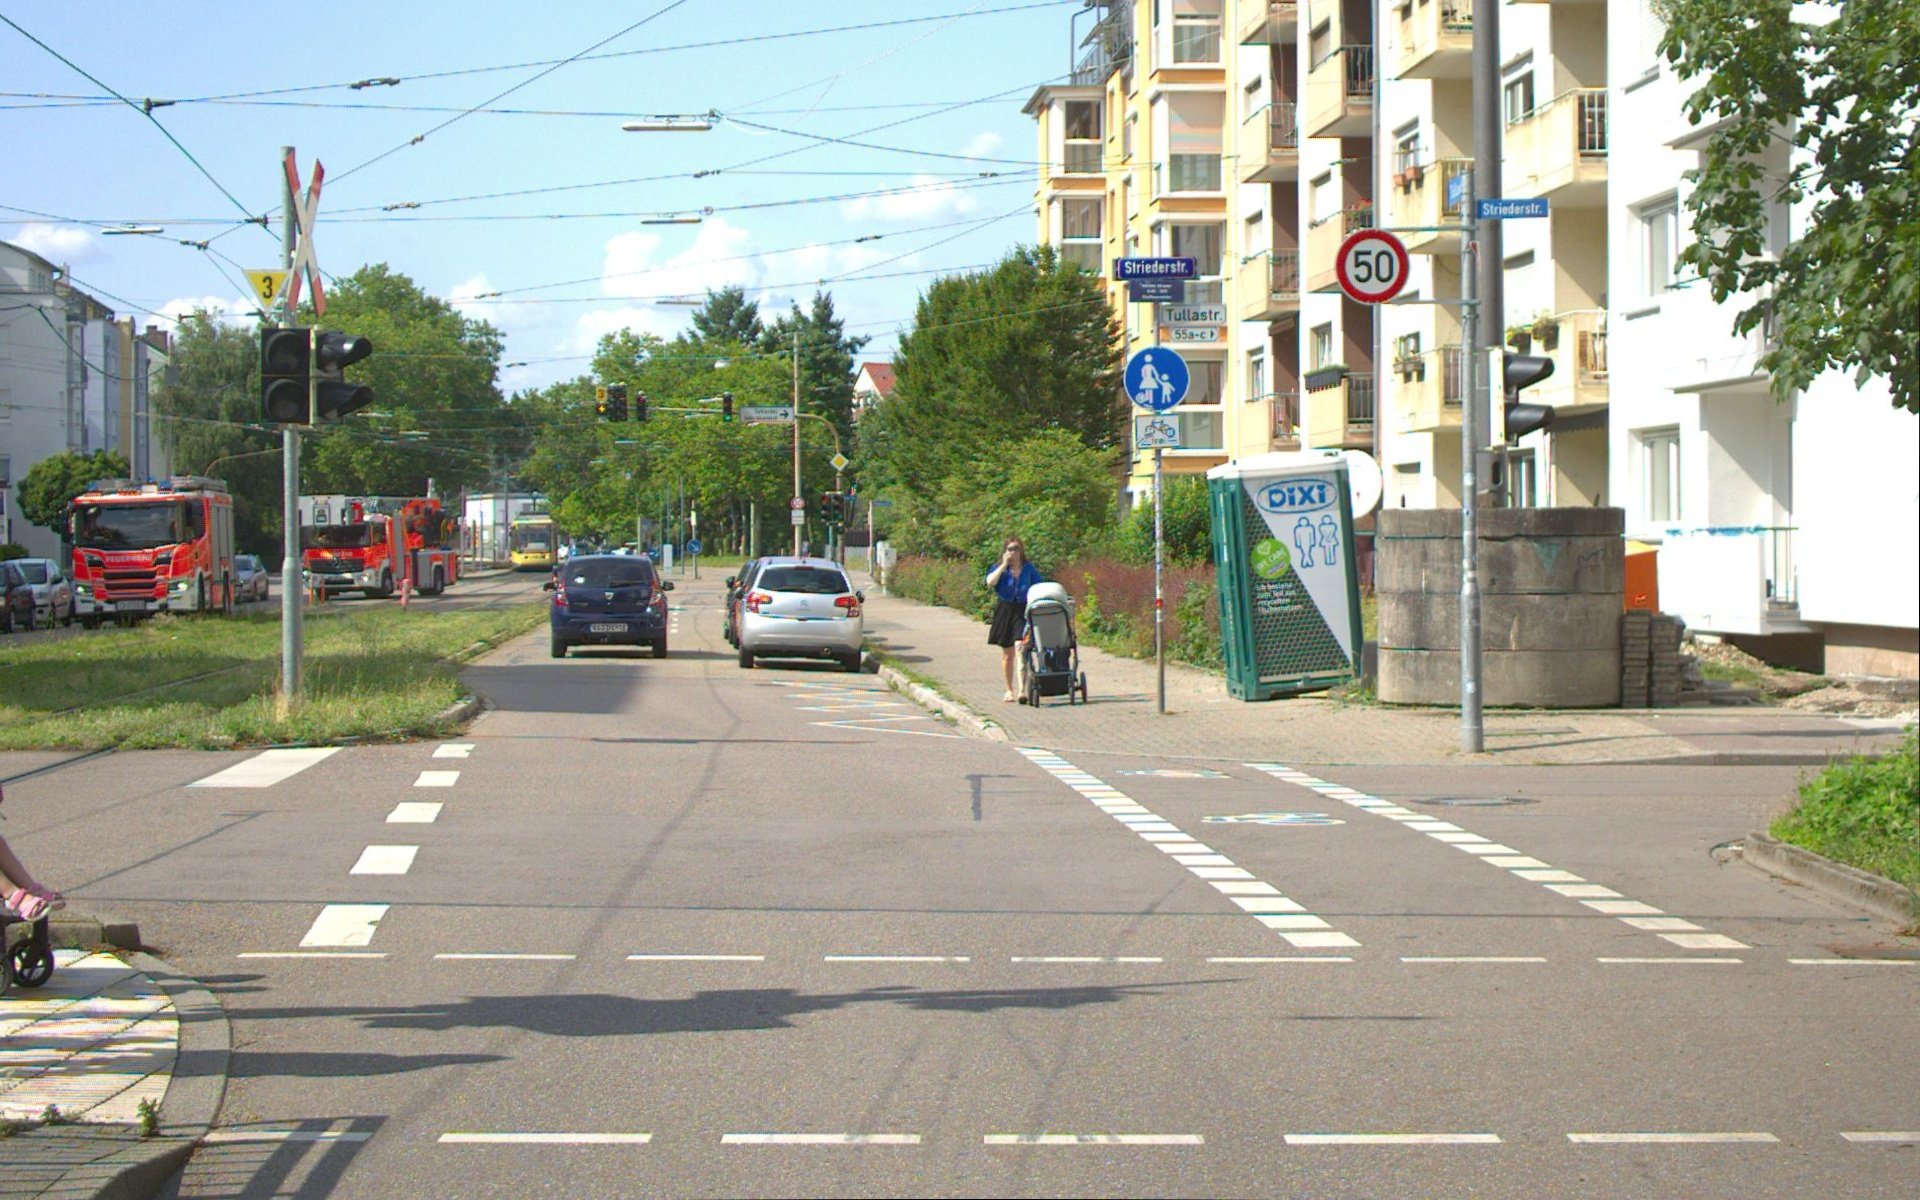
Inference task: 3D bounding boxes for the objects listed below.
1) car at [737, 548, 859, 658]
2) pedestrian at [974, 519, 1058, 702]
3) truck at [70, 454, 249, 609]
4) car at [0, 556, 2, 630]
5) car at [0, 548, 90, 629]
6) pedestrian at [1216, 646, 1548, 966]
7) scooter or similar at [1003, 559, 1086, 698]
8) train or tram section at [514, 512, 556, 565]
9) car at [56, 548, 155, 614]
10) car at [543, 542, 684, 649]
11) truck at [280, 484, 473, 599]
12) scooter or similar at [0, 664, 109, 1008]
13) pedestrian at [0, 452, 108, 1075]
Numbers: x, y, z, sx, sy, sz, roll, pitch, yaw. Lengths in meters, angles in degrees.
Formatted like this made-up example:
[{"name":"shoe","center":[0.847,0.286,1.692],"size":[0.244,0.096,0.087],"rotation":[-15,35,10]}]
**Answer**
[{"name":"car","center":[-2.281,0.026,48.274],"size":[1.622,1.460,3.511],"rotation":[1,1,-3]},{"name":"pedestrian","center":[0.560,0.093,34.681],"size":[0.701,1.783,1.030],"rotation":[-3,1,-2]},{"name":"truck","center":[-17.347,-1.453,74.960],"size":[2.596,3.175,8.384],"rotation":[0,1,-5]},{"name":"car","center":[-19.273,-0.129,64.443],"size":[1.768,1.437,4.001],"rotation":[1,1,-4]},{"name":"car","center":[-20.452,-0.281,75.338],"size":[1.993,1.705,4.001],"rotation":[1,1,-4]},{"name":"pedestrian","center":[2.974,1.404,25.014],"size":[1.993,2.007,4.000],"rotation":[1,0,2]},{"name":"scooter or similar","center":[0.829,0.271,33.794],"size":[0.662,1.299,0.868],"rotation":[-4,1,-3]},{"name":"train or tram section","center":[-24.808,-3.593,201.056],"size":[2.258,3.058,8.135],"rotation":[-1,1,-6]},{"name":"car","center":[-21.217,-0.481,85.485],"size":[1.776,1.551,4.001],"rotation":[1,1,-5]},{"name":"car","center":[-5.135,-0.088,51.340],"size":[1.744,1.502,4.000],"rotation":[1,1,-1]},{"name":"truck","center":[-18.609,-1.829,110.411],"size":[2.668,3.459,10.163],"rotation":[1,1,11]},{"name":"scooter or similar","center":[-3.362,0.738,11.049],"size":[1.100,1.052,0.650],"rotation":[1,0,-3]},{"name":"pedestrian","center":[-2.908,0.439,9.418],"size":[0.845,1.662,0.798],"rotation":[-1,0,-38]}]
